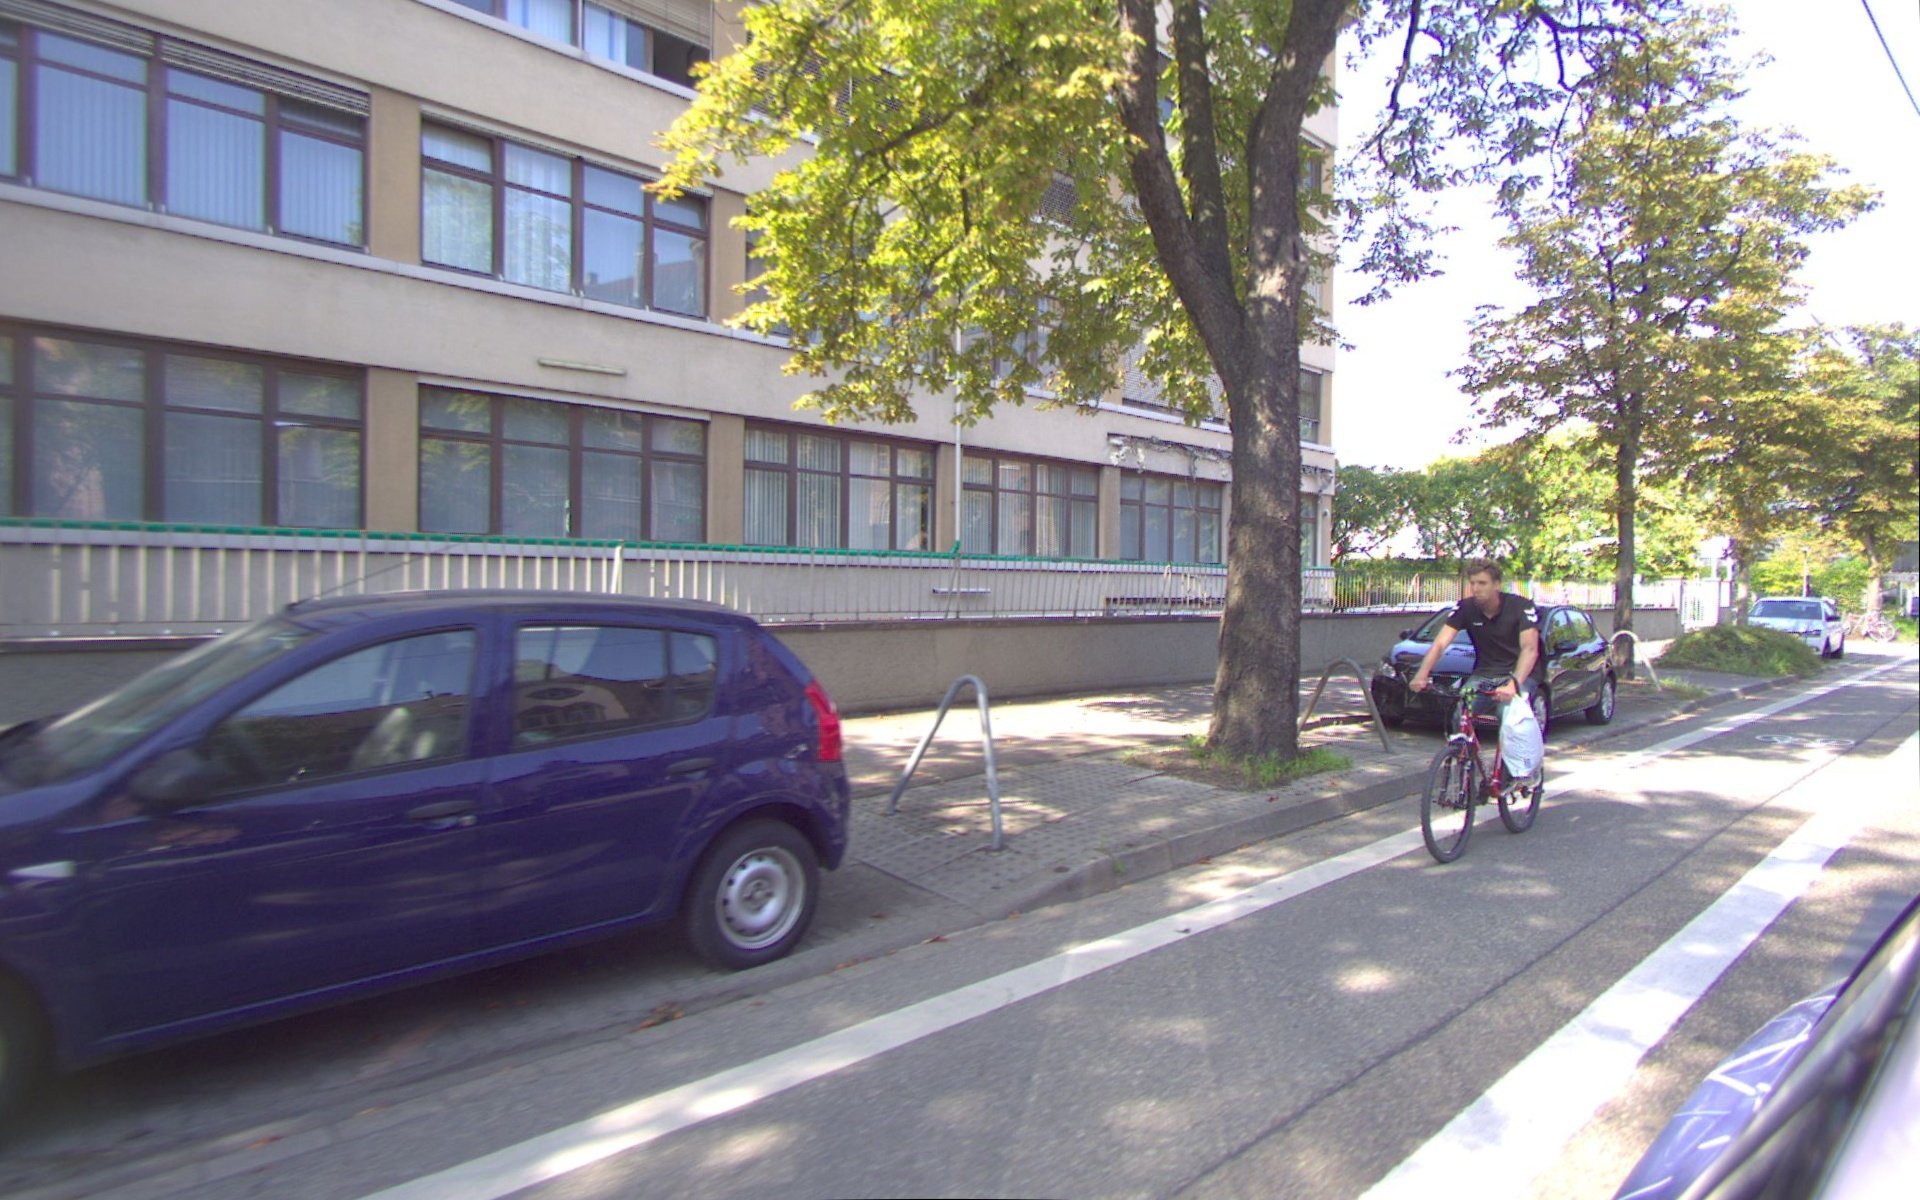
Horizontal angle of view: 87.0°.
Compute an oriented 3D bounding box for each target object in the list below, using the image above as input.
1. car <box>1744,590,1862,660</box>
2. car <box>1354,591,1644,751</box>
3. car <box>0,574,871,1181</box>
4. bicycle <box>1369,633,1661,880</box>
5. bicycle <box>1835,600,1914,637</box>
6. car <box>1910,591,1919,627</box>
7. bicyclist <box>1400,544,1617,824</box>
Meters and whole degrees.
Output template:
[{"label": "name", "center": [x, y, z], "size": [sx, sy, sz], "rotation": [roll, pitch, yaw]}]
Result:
[{"label": "car", "center": [19.847, 0.525, 23.771], "size": [3.922, 1.447, 1.642], "rotation": [-1, 2, -43]}, {"label": "car", "center": [6.245, 0.654, 11.524], "size": [4.015, 1.446, 1.648], "rotation": [0, 2, -42]}, {"label": "car", "center": [-2.330, 0.693, 3.807], "size": [3.712, 1.529, 1.649], "rotation": [-1, 3, -41]}, {"label": "bicycle", "center": [3.444, 0.830, 6.175], "size": [2.264, 1.159, 0.788], "rotation": [-1, 1, -40]}, {"label": "bicycle", "center": [28.960, 0.569, 32.059], "size": [0.783, 1.077, 1.771], "rotation": [0, 3, -43]}, {"label": "car", "center": [42.467, 0.427, 43.717], "size": [4.362, 1.504, 1.743], "rotation": [0, 2, -43]}, {"label": "bicyclist", "center": [3.281, 0.439, 6.045], "size": [1.096, 1.488, 0.788], "rotation": [0, 0, -39]}]
